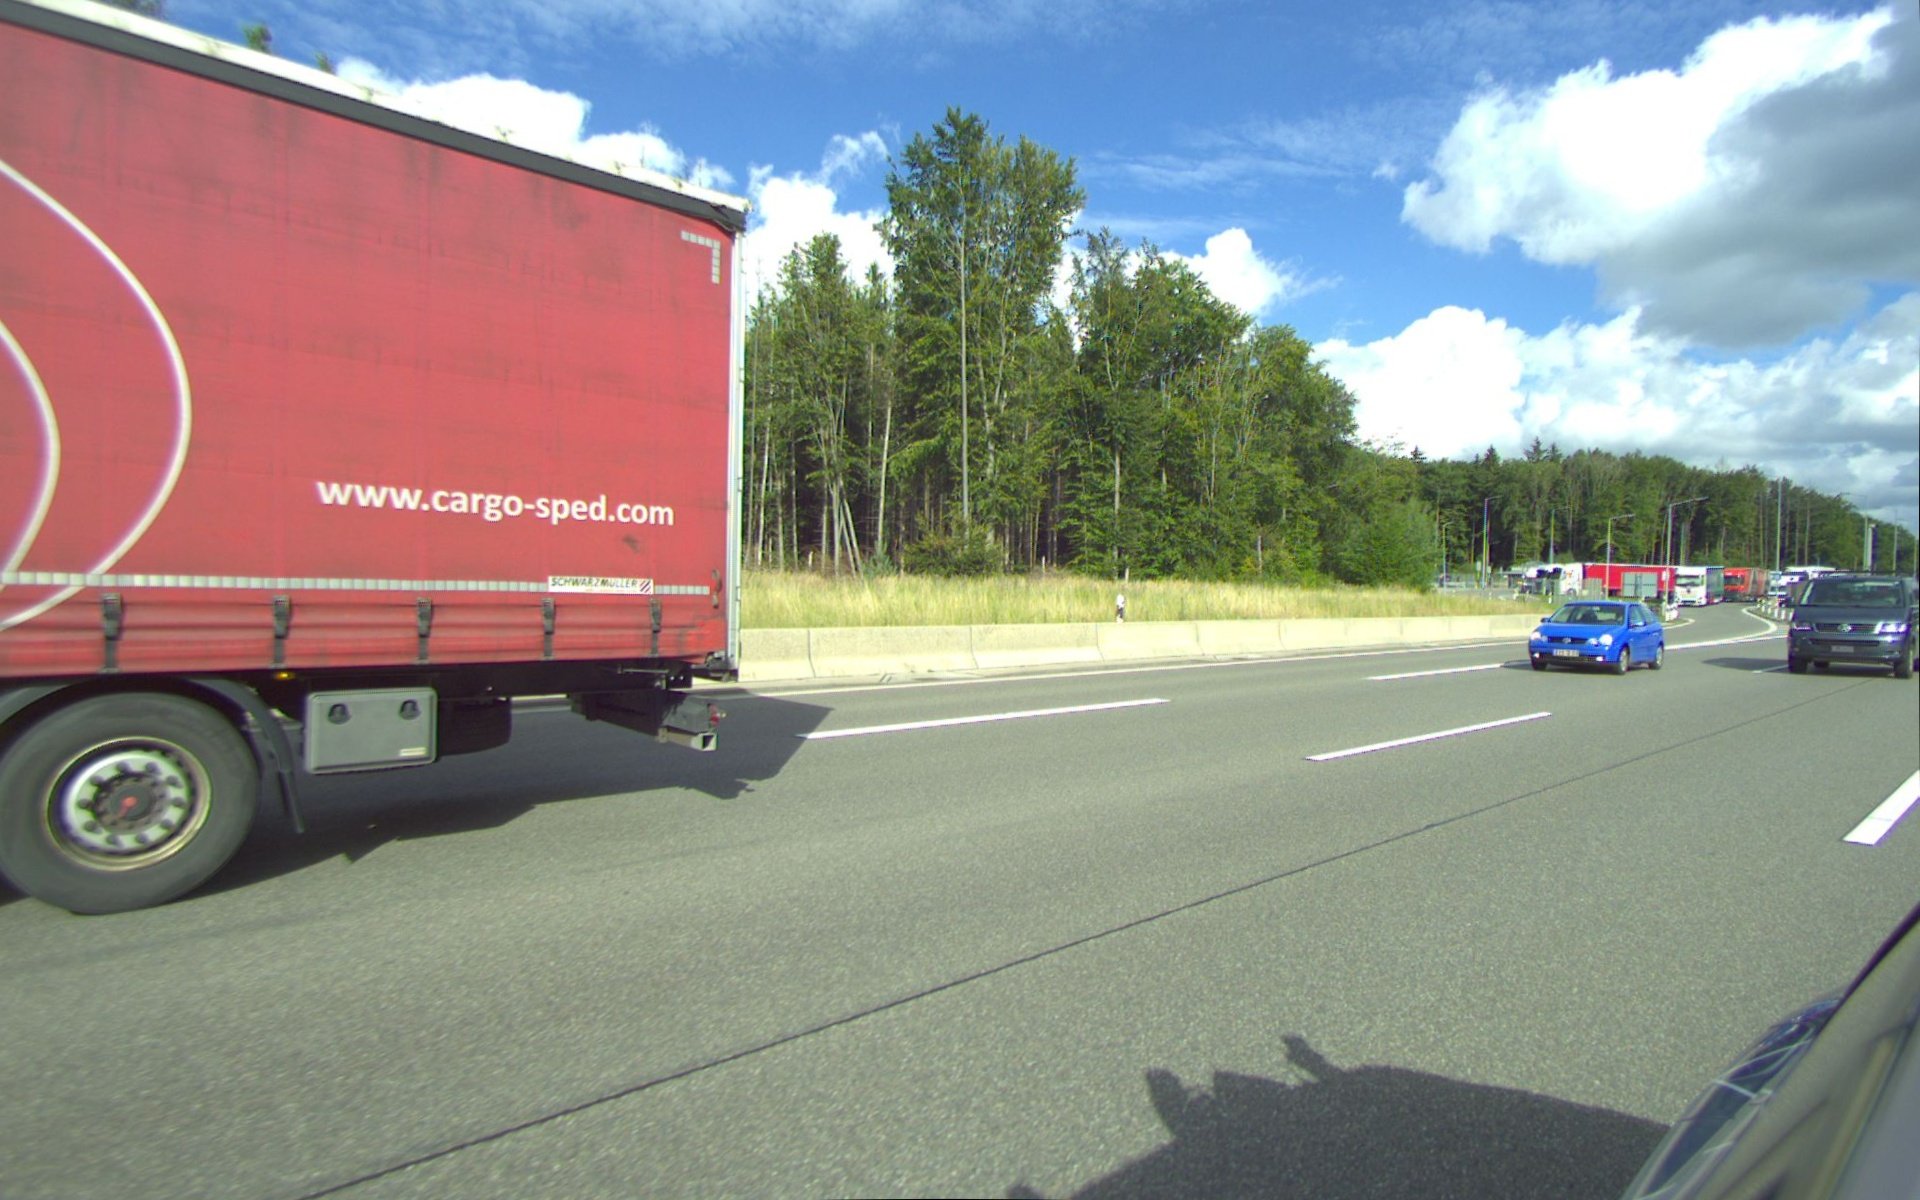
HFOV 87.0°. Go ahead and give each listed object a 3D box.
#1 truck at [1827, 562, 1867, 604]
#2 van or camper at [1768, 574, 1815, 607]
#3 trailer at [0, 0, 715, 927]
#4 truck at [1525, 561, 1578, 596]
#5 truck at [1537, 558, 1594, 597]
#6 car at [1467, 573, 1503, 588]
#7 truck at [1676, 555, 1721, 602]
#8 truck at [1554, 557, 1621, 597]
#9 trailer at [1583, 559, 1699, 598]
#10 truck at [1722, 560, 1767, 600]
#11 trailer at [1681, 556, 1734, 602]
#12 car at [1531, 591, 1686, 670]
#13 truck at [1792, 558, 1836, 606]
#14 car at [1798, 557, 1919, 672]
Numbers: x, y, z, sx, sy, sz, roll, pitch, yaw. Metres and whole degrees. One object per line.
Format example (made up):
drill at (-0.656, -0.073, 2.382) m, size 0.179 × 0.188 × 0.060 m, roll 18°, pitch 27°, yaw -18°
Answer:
truck at (108.345, -2.091, 123.588) m, size 7.137 × 4.986 × 2.659 m, roll 0°, pitch 2°, yaw -42°
van or camper at (83.124, -0.950, 101.137) m, size 4.651 × 3.237 × 2.397 m, roll 0°, pitch 1°, yaw -34°
trailer at (-7.515, -0.723, 2.908) m, size 13.472 × 4.096 × 2.779 m, roll 0°, pitch 1°, yaw -41°
truck at (73.943, -2.679, 126.589) m, size 5.080 × 4.169 × 2.569 m, roll 1°, pitch 1°, yaw 6°
truck at (73.753, -2.782, 123.403) m, size 5.031 × 4.564 × 2.894 m, roll 1°, pitch 1°, yaw 5°
car at (72.555, -2.662, 139.804) m, size 1.966 × 1.938 × 3.993 m, roll 0°, pitch 2°, yaw -42°
truck at (74.421, -2.131, 101.916) m, size 2.871 × 4.563 × 7.067 m, roll 2°, pitch 2°, yaw 42°
truck at (74.103, -2.693, 119.511) m, size 5.990 × 4.564 × 2.877 m, roll 1°, pitch 0°, yaw 5°
trailer at (79.960, -2.557, 118.916) m, size 11.185 × 4.429 × 2.841 m, roll 1°, pitch 0°, yaw 6°
truck at (91.774, -2.282, 118.333) m, size 6.914 × 4.563 × 2.876 m, roll 0°, pitch 1°, yaw -42°
trailer at (79.000, -2.205, 106.790) m, size 2.872 × 4.562 × 12.797 m, roll 2°, pitch 2°, yaw 43°
car at (13.408, 0.566, 20.846) m, size 3.930 × 1.460 × 1.653 m, roll 0°, pitch 1°, yaw -41°
truck at (92.390, -1.963, 109.441) m, size 6.865 × 4.986 × 2.659 m, roll 0°, pitch 2°, yaw -42°
car at (19.066, 0.265, 21.038) m, size 4.847 × 2.136 × 1.852 m, roll 0°, pitch 0°, yaw -42°
